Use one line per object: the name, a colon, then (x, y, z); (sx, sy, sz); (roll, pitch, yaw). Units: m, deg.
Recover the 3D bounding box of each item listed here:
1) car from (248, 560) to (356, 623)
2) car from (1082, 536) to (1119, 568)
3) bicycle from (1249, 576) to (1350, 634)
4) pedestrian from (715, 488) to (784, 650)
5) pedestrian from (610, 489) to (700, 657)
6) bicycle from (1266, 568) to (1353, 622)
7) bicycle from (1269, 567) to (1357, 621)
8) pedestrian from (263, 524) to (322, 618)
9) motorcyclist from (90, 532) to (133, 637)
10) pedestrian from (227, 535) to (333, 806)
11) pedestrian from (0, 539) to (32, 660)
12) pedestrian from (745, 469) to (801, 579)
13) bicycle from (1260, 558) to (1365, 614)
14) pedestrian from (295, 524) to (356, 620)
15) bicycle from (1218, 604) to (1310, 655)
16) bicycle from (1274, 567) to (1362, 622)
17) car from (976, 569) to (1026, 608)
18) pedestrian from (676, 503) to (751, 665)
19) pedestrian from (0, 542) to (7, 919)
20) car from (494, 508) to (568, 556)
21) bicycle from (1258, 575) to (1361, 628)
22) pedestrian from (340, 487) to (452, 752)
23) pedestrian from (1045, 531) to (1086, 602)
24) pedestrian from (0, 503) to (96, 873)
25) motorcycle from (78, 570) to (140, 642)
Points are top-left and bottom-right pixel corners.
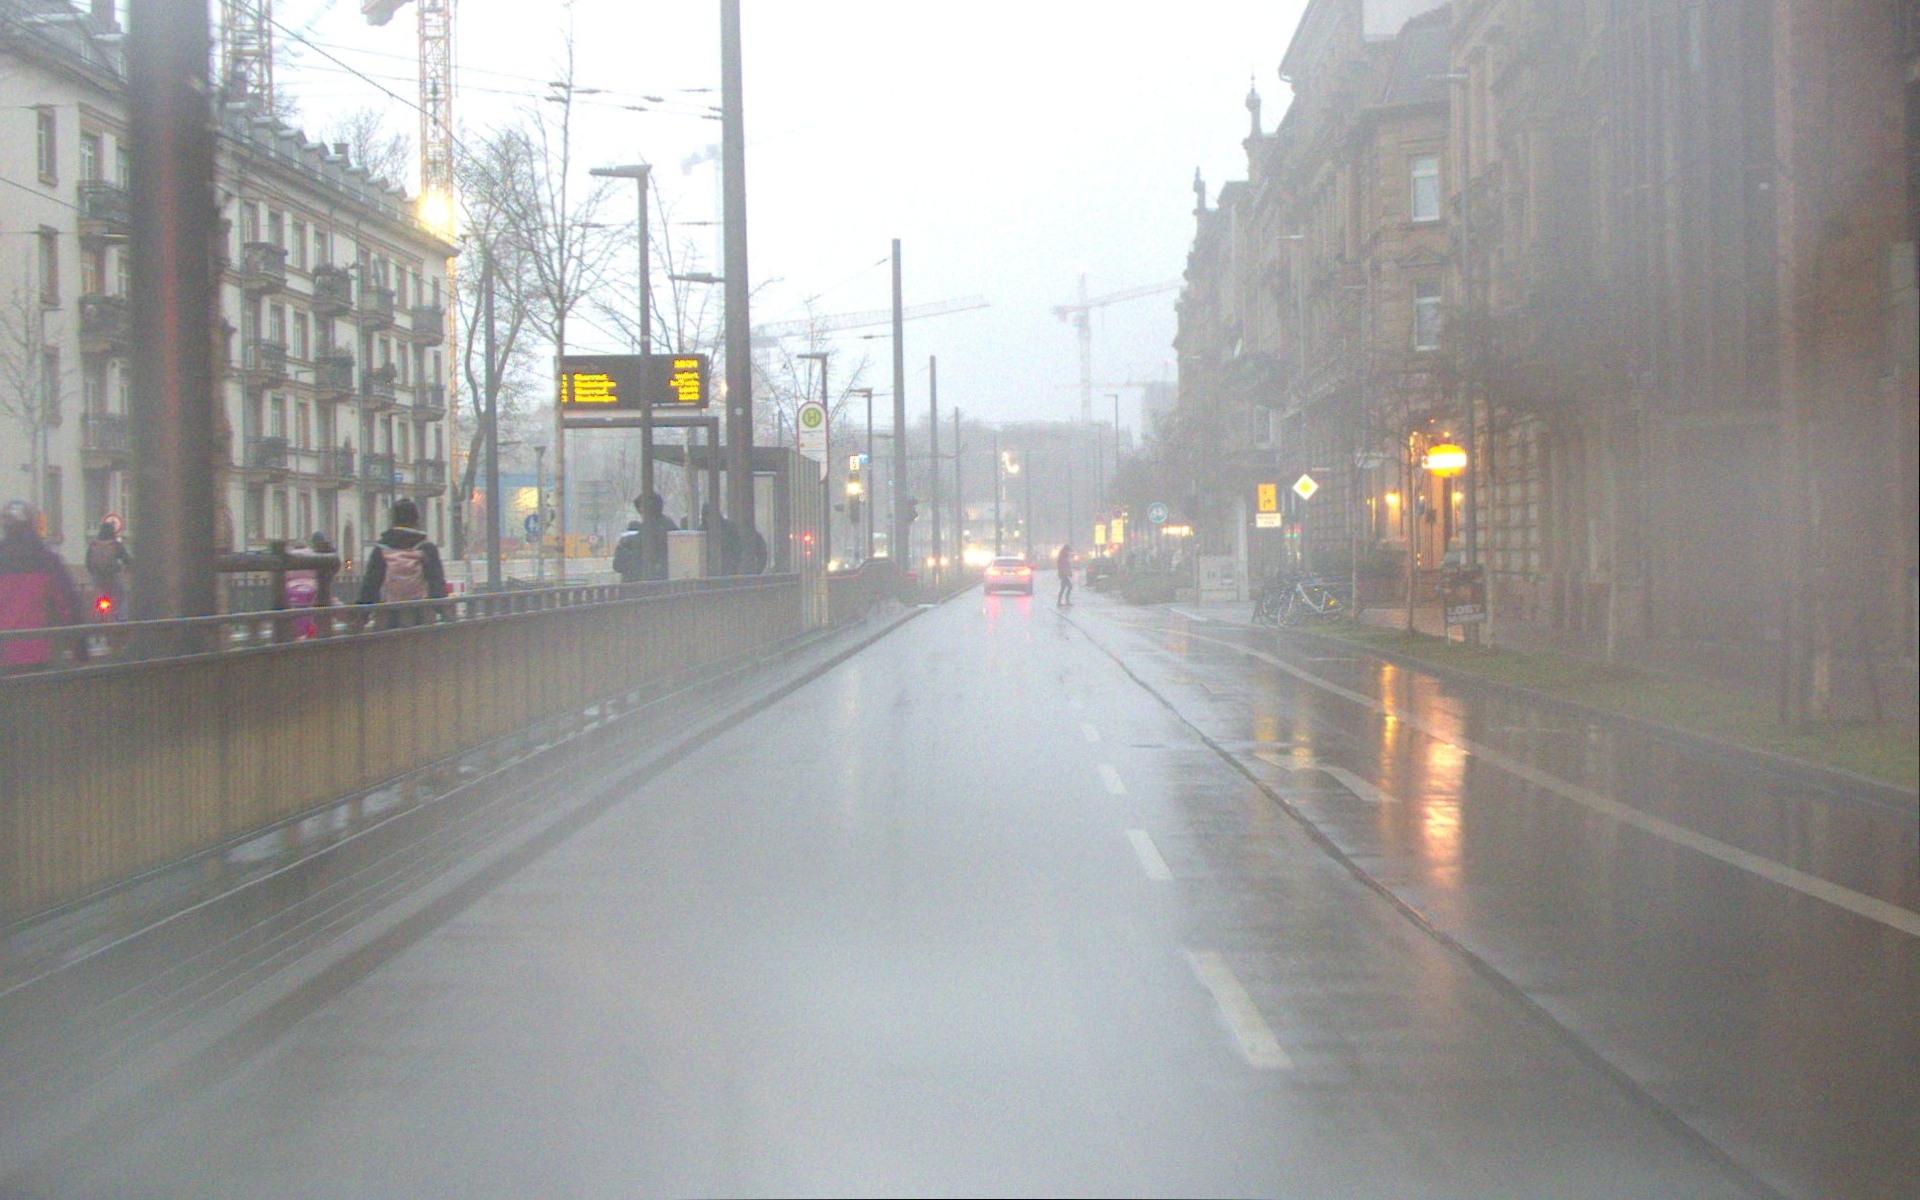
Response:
car: (-14.474, -0.195, 75.759); (1.681, 1.349, 3.546); (0, 0, 0)
car: (7.316, -2.499, 178.413); (1.799, 1.598, 3.769); (-1, 1, 4)
bicycle: (7.137, 0.099, 72.312); (2.008, 1.091, 0.425); (-4, 1, 0)
pedestrian: (-2.767, -0.410, 45.309); (0.809, 2.103, 0.804); (-1, 1, 2)
pedestrian: (-3.124, -0.280, 35.183); (0.776, 1.698, 0.773); (0, 1, -17)
bicycle: (7.233, -0.099, 71.260); (1.730, 1.051, 0.371); (-2, 1, 0)
bicycle: (7.265, -0.123, 70.839); (1.730, 1.051, 0.371); (-2, 1, 0)
pedestrian: (-12.738, -0.558, 65.592); (0.795, 1.774, 0.822); (0, 1, -40)
motorcyclist: (-12.140, -0.231, 49.217); (0.499, 1.490, 0.556); (1, 1, -4)
pedestrian: (-4.319, 0.438, 21.849); (0.540, 1.686, 0.643); (-1, 0, -1)
pedestrian: (-12.214, -0.010, 43.507); (0.634, 1.519, 0.756); (0, 1, -40)
pedestrian: (-2.592, -1.056, 47.652); (0.679, 1.511, 0.619); (0, 1, -11)
bicycle: (7.536, -0.302, 73.559); (2.144, 1.051, 0.425); (-3, 2, 1)
pedestrian: (-11.753, -0.521, 63.723); (0.795, 1.774, 0.822); (0, 1, -40)
bicycle: (6.907, 0.667, 78.017); (2.087, 1.048, 0.478); (-3, 1, -25)
bicycle: (7.317, -0.118, 70.336); (1.730, 1.051, 0.371); (-2, 1, 0)
car: (1.584, -0.452, 132.647); (1.784, 1.462, 3.148); (-1, 1, 3)
pedestrian: (-2.983, -0.201, 41.663); (0.809, 1.941, 0.804); (-1, 1, 2)
pedestrian: (-4.284, 0.553, 14.287); (0.481, 1.584, 0.563); (-1, 0, -1)
car: (-12.303, -1.945, 98.672); (1.681, 1.349, 3.546); (0, 0, 0)
bicycle: (7.542, 0.032, 74.166); (2.144, 1.051, 0.484); (-2, 1, 0)
pedestrian: (-3.677, 0.118, 22.390); (0.645, 1.698, 0.568); (0, 1, -17)
pedestrian: (2.994, -0.957, 97.330); (0.916, 2.007, 0.855); (-1, 1, 20)
pedestrian: (-4.302, 0.398, 15.854); (0.481, 1.673, 0.563); (-1, 0, -1)
motorcycle: (-12.179, 0.079, 49.254); (0.512, 1.005, 1.807); (1, 1, -3)
